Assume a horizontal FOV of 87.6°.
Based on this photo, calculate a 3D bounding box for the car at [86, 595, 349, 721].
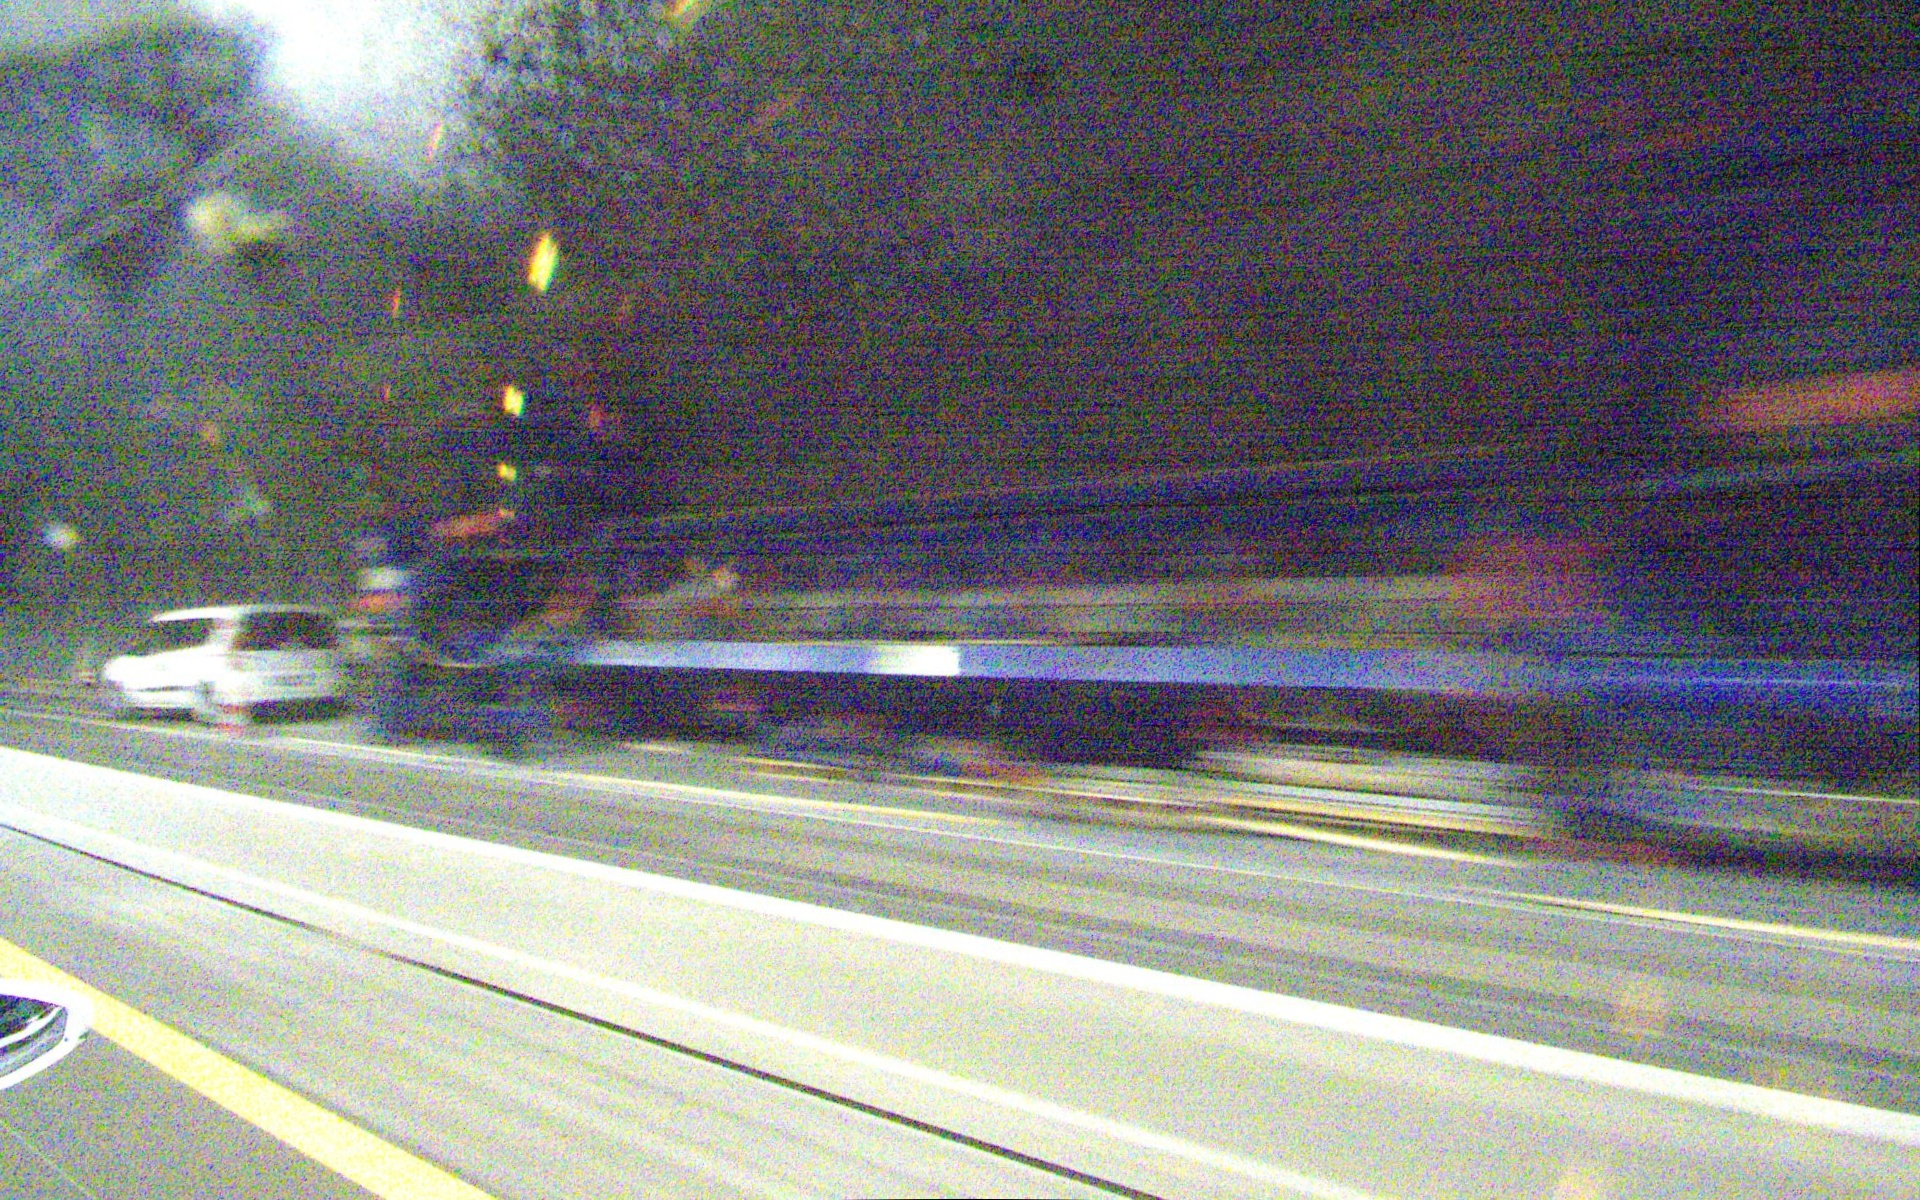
[{"bbox_3d":[-12.402,0.891,16.667,4.573,1.869,1.750,-1,-1,28],"label":"car"}]
